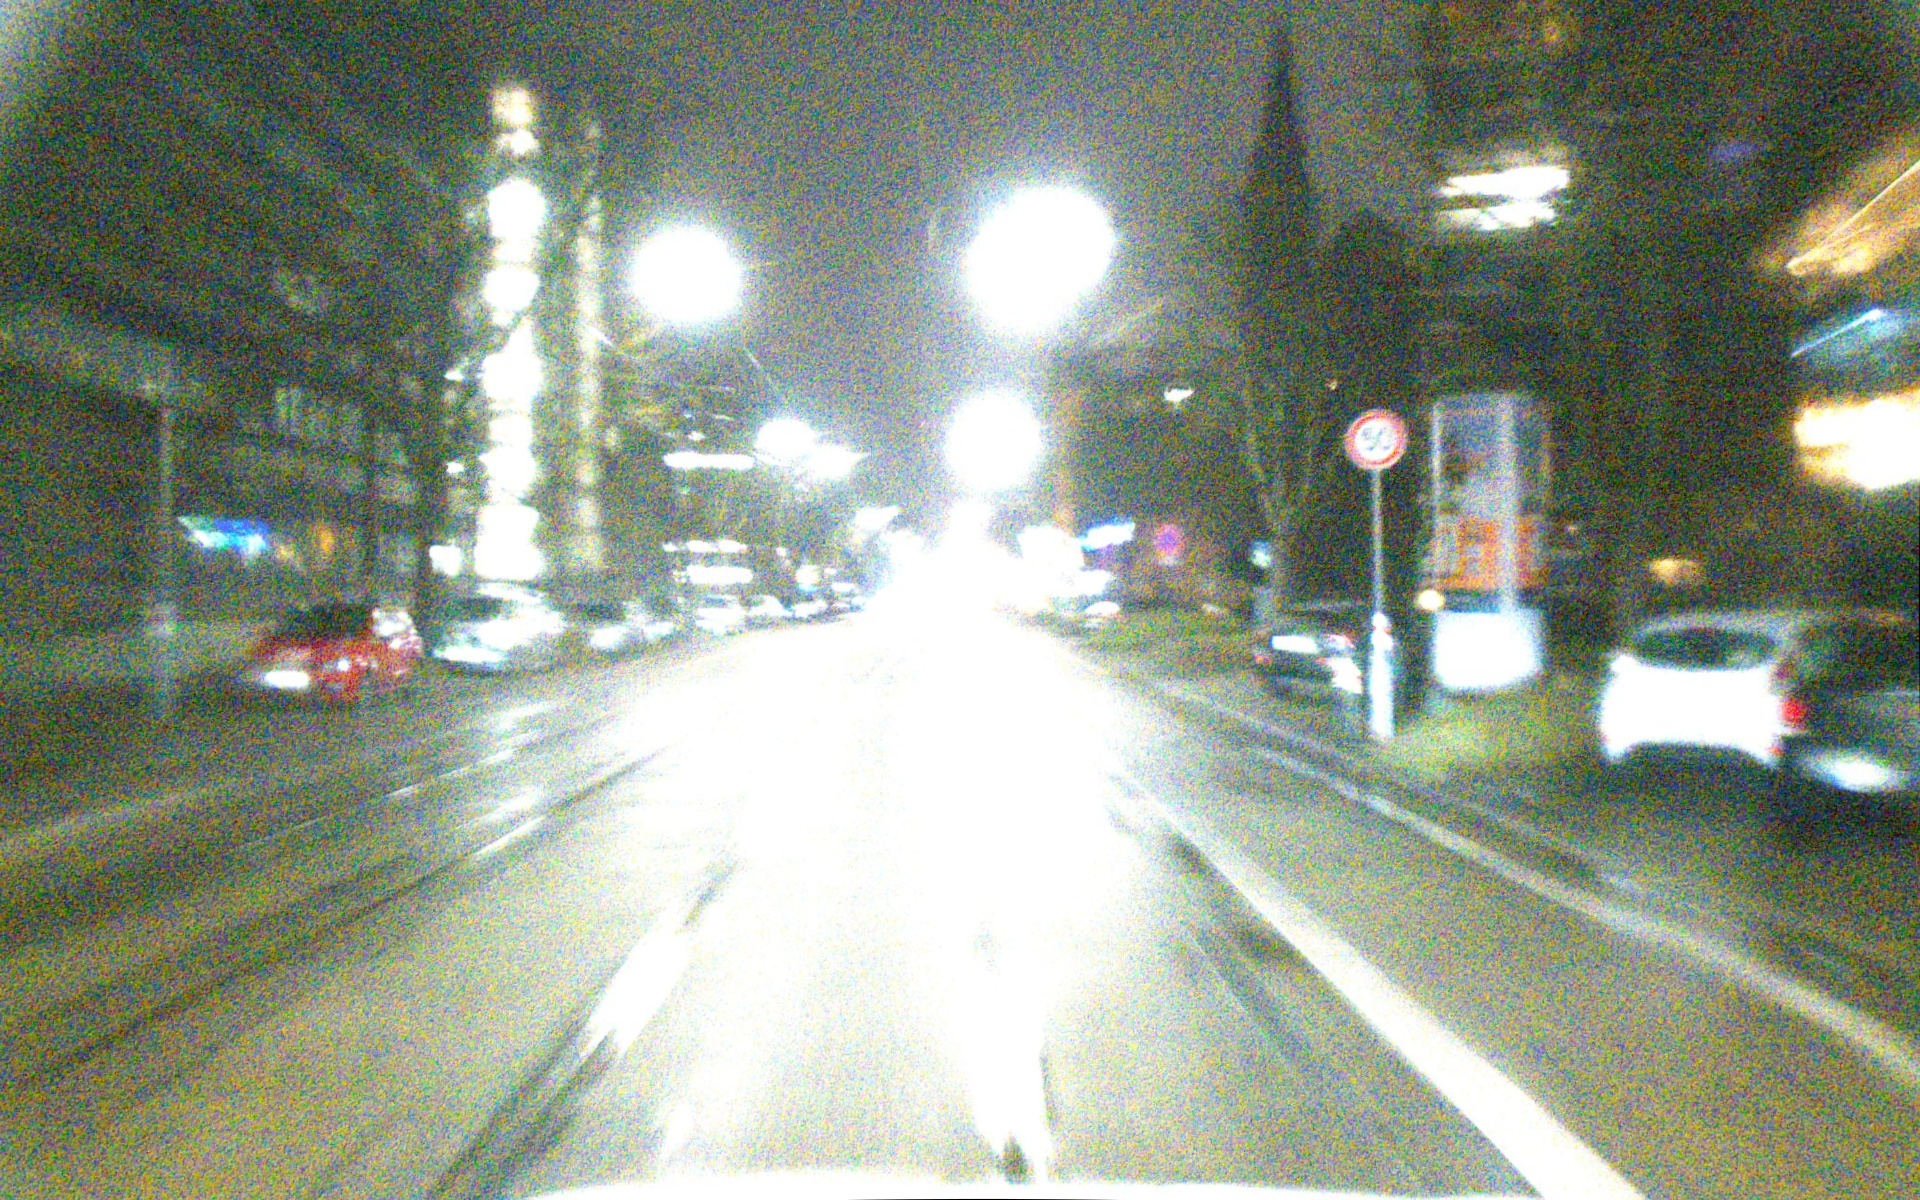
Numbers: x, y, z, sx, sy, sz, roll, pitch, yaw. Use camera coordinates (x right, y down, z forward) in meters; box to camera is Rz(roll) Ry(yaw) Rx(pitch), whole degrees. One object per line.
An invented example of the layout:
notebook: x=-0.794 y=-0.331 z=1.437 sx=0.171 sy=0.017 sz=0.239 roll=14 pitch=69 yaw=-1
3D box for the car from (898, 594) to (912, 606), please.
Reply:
car: x=-7.559 y=0.029 z=227.556 sx=1.740 sy=1.544 sz=4.050 roll=1 pitch=0 yaw=0

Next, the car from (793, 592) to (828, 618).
car: x=-9.980 y=0.309 z=110.484 sx=1.943 sy=1.660 sz=4.516 roll=1 pitch=0 yaw=-1

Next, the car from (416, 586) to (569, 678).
car: x=-9.272 y=0.588 z=33.185 sx=1.773 sy=1.606 sz=4.353 roll=4 pitch=0 yaw=0

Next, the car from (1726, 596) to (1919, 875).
car: x=6.462 y=0.737 z=10.381 sx=3.537 sy=1.497 sz=1.630 roll=-1 pitch=0 yaw=-39

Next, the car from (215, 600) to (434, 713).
car: x=-9.084 y=0.759 z=23.981 sx=1.684 sy=1.481 sz=3.949 roll=1 pitch=0 yaw=-1

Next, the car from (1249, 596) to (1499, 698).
car: x=6.647 y=0.703 z=26.321 sx=4.300 sy=1.494 sz=1.657 roll=1 pitch=0 yaw=-40

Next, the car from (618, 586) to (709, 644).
car: x=-9.436 y=0.479 z=52.981 sx=2.100 sy=1.648 sz=4.588 roll=3 pitch=0 yaw=-1

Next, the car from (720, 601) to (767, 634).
car: x=-9.649 y=0.776 z=74.088 sx=1.803 sy=1.448 sz=4.206 roll=0 pitch=0 yaw=-4

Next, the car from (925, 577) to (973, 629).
car: x=-0.562 y=0.148 z=80.804 sx=2.199 sy=2.402 sz=4.392 roll=1 pitch=0 yaw=-2

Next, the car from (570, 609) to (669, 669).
car: x=-8.976 y=1.002 z=43.936 sx=1.696 sy=1.463 sz=4.625 roll=1 pitch=0 yaw=0

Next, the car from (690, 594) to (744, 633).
car: x=-9.461 y=0.509 z=64.570 sx=1.738 sy=1.465 sz=4.604 roll=0 pitch=0 yaw=-4

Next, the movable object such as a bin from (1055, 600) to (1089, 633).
movable object such as a bin: x=4.921 y=0.737 z=72.682 sx=1.296 sy=1.433 sz=1.158 roll=-1 pitch=-1 yaw=-6

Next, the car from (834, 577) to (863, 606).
car: x=-10.800 y=-0.830 z=160.098 sx=2.140 sy=2.637 sz=6.393 roll=1 pitch=1 yaw=1

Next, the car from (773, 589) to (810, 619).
car: x=-9.838 y=0.239 z=96.787 sx=1.843 sy=1.572 sz=4.396 roll=4 pitch=0 yaw=-3

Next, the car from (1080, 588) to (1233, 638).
car: x=6.213 y=0.380 z=52.310 sx=4.518 sy=1.501 sz=1.829 roll=-1 pitch=0 yaw=-21

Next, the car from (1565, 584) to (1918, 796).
car: x=6.743 y=0.679 z=14.074 sx=1.681 sy=1.538 sz=3.883 roll=1 pitch=0 yaw=42

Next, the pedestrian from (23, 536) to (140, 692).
pedestrian: x=-11.257 y=0.179 z=21.239 sx=0.776 sy=1.935 sz=1.290 roll=1 pitch=0 yaw=0
